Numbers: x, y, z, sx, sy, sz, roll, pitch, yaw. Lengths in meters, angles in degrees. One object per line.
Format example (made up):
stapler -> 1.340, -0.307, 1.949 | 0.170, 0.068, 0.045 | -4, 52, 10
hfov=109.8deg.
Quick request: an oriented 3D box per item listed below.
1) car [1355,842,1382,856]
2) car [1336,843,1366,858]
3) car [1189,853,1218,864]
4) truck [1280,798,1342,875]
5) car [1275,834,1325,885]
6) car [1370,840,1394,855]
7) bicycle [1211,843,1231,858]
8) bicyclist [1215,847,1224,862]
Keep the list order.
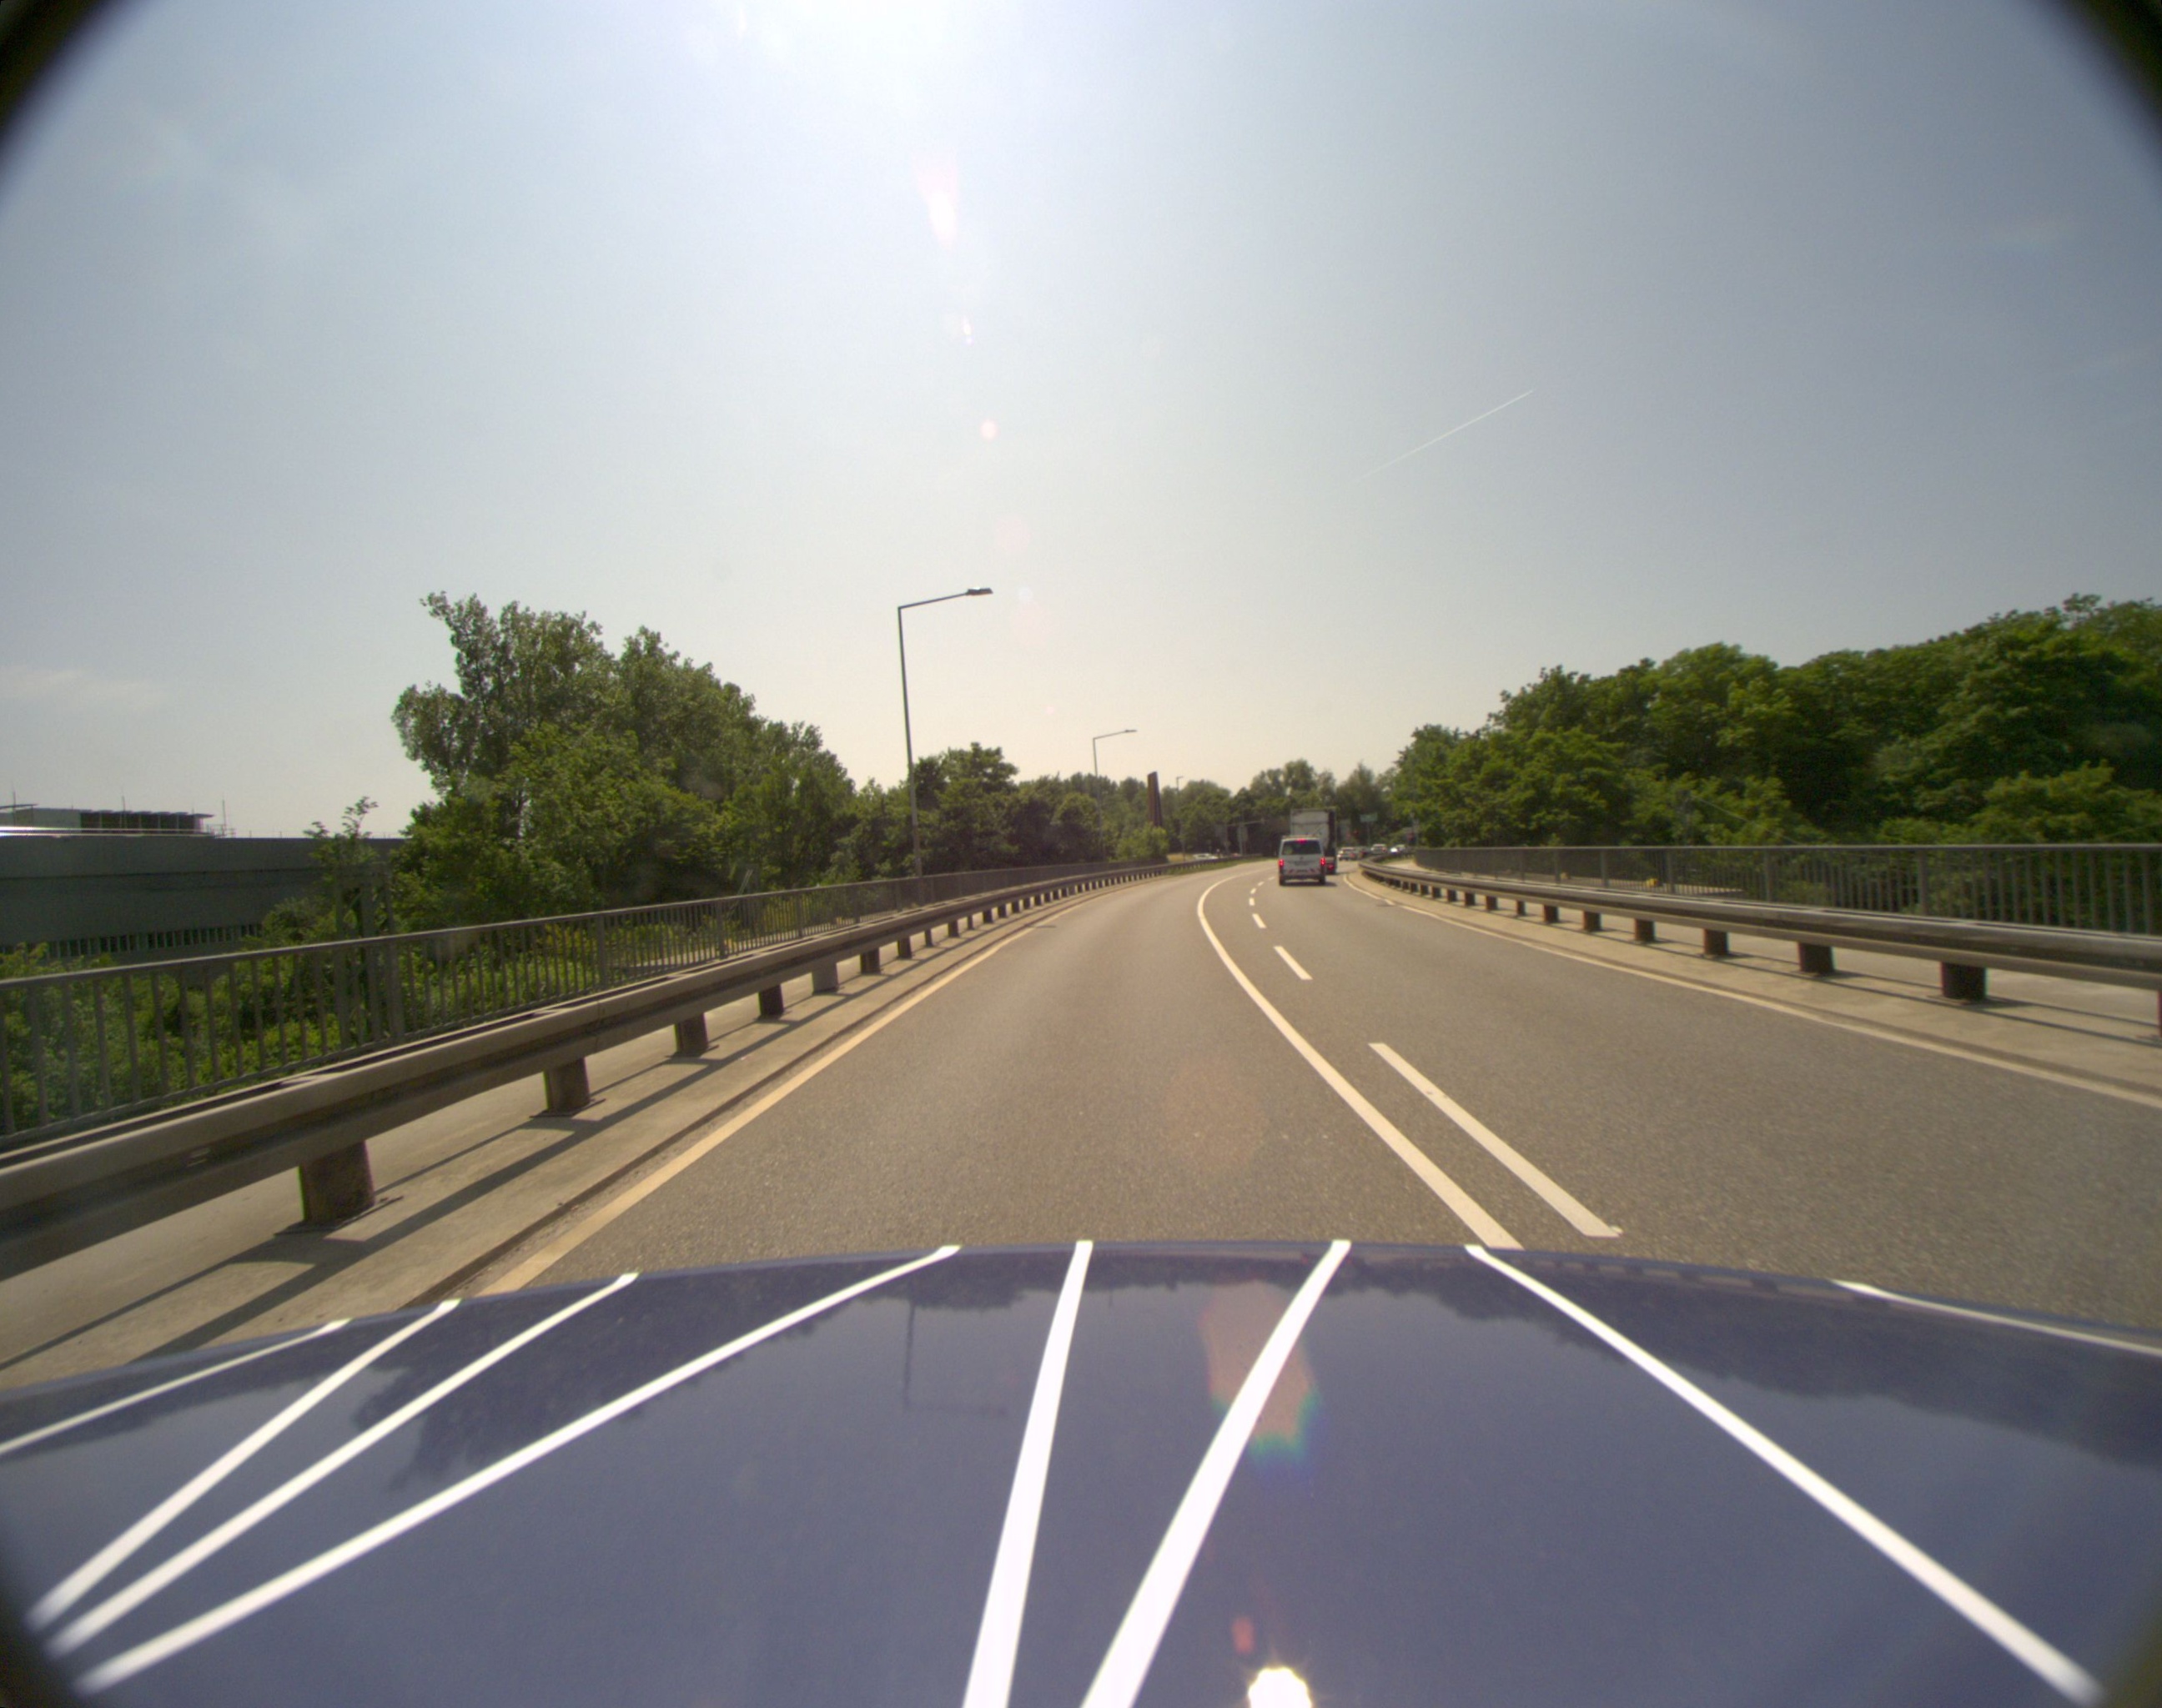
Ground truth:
car -> 32.383, -0.582, 85.410 | 1.829, 1.398, 4.555 | -2, 0, 34
car -> 28.604, -0.385, 80.524 | 1.829, 1.398, 4.897 | -1, 1, 34
car -> 19.026, 0.673, 118.210 | 1.871, 1.497, 4.287 | -3, 0, -36
truck -> 12.913, -0.914, 42.386 | 2.708, 3.968, 6.195 | -1, 0, 22
car -> 9.288, 0.204, 32.243 | 1.863, 1.988, 4.819 | -2, 0, 16
car -> 36.181, -0.809, 91.374 | 1.829, 1.629, 4.587 | -1, 1, 32
bicycle -> 15.823, -0.351, 85.972 | 0.657, 1.564, 2.369 | -3, 0, -31
bicyclist -> 15.726, 0.068, 86.195 | 0.672, 1.589, 0.690 | -3, 0, -32
